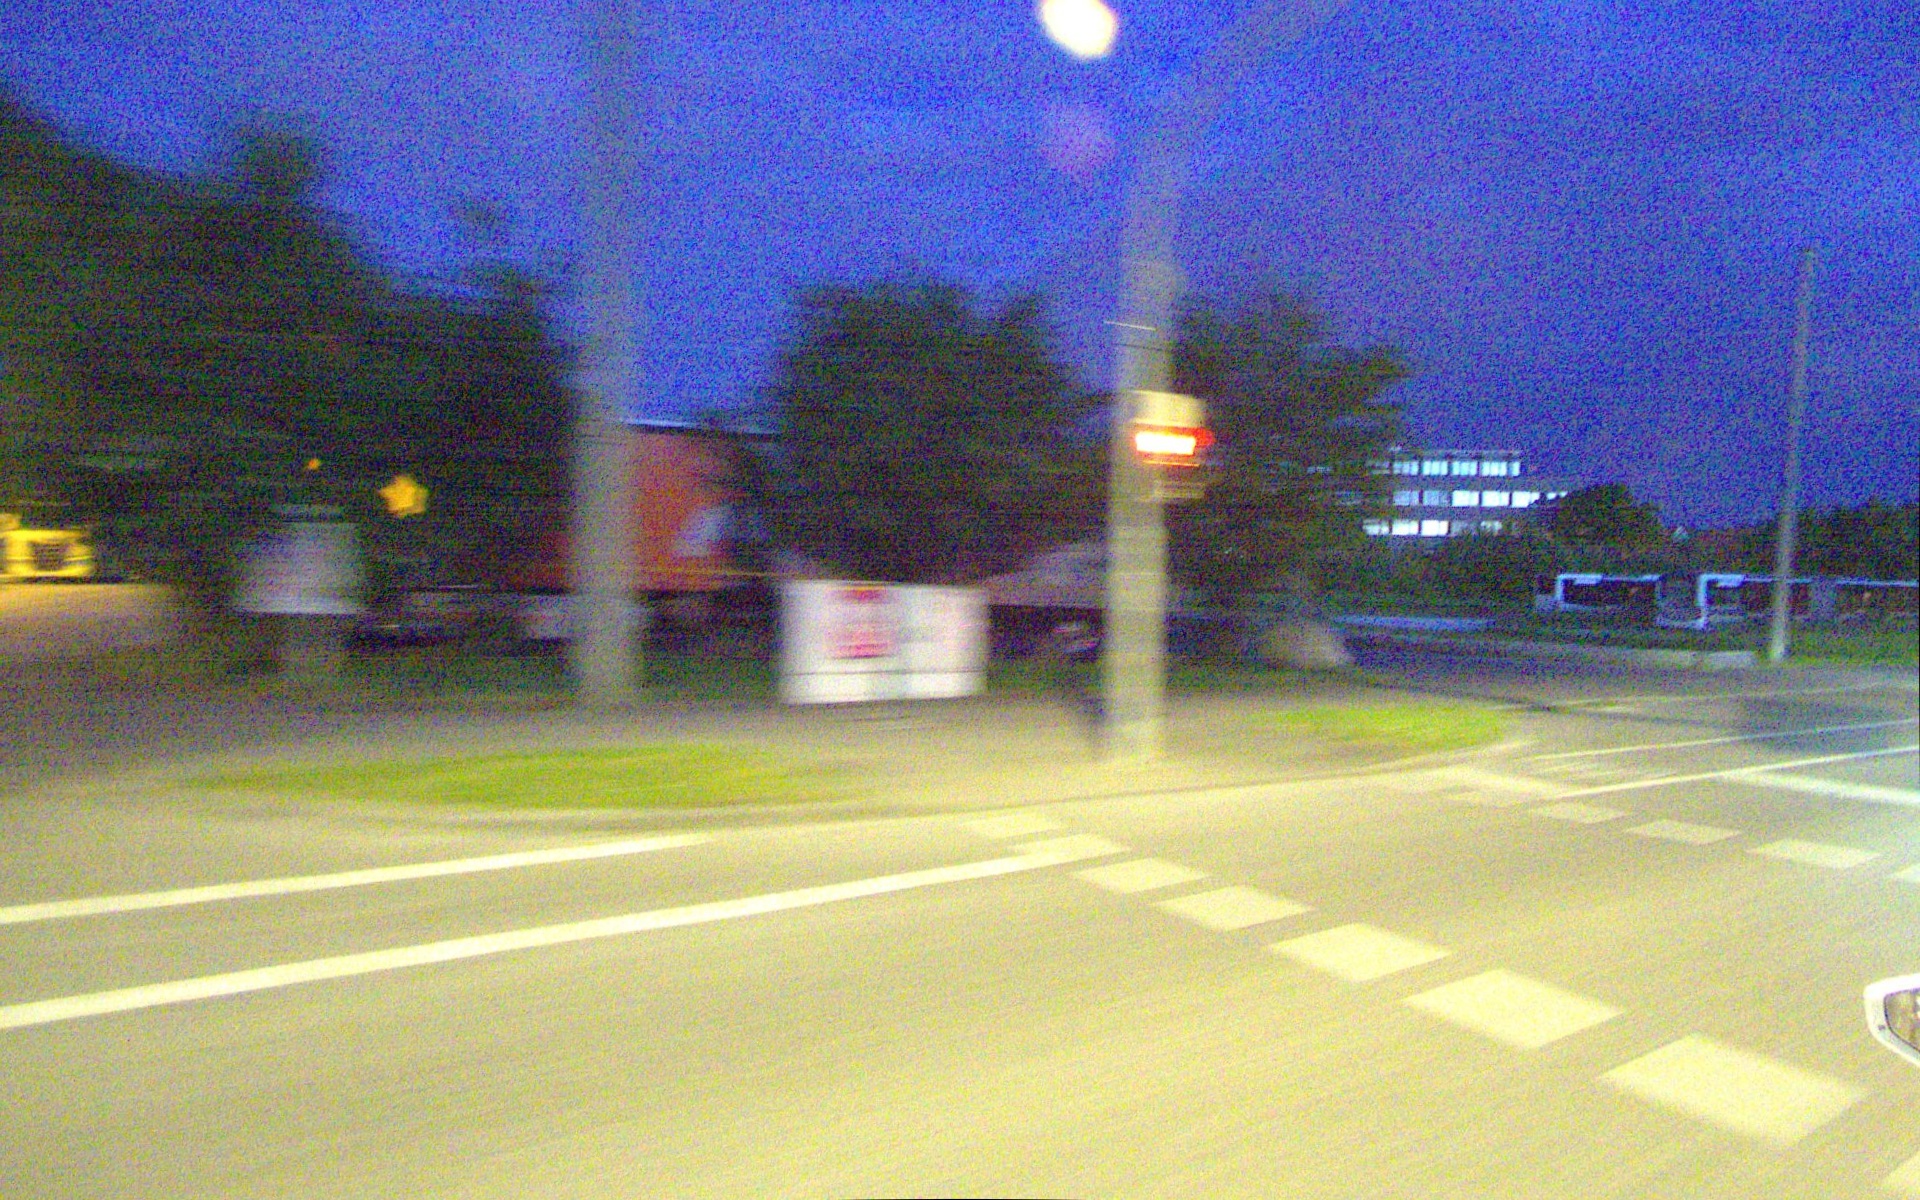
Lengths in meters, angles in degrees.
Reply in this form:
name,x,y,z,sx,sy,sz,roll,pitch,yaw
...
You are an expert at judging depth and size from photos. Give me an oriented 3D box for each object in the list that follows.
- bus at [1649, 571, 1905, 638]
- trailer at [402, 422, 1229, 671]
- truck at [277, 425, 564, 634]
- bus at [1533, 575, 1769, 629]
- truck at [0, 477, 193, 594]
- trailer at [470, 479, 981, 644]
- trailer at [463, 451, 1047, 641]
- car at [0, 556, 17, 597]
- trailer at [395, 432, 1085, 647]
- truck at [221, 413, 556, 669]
name,x,y,z,sx,sy,sz,roll,pitch,yaw
bus,41.832,0.238,51.446,12.450,3.247,3.015,0,1,-12
trailer,-2.263,-0.801,19.599,14.747,3.986,3.059,1,2,-14
truck,-11.886,-1.507,22.578,4.844,4.205,3.064,1,2,-7
bus,41.361,0.101,60.393,12.031,3.023,2.953,1,1,1
truck,-39.358,-2.723,46.384,3.530,4.612,12.514,1,1,-25
trailer,-6.893,-1.108,31.242,14.727,4.416,3.063,1,2,-8
trailer,-5.225,-1.348,27.496,14.727,4.416,3.063,1,2,-8
car,-33.721,-0.814,34.066,1.674,1.385,3.967,1,1,-30
trailer,-4.709,-1.275,23.475,14.723,4.205,3.064,1,2,-7
truck,-9.773,-0.940,17.756,4.427,3.986,3.059,1,2,-14
